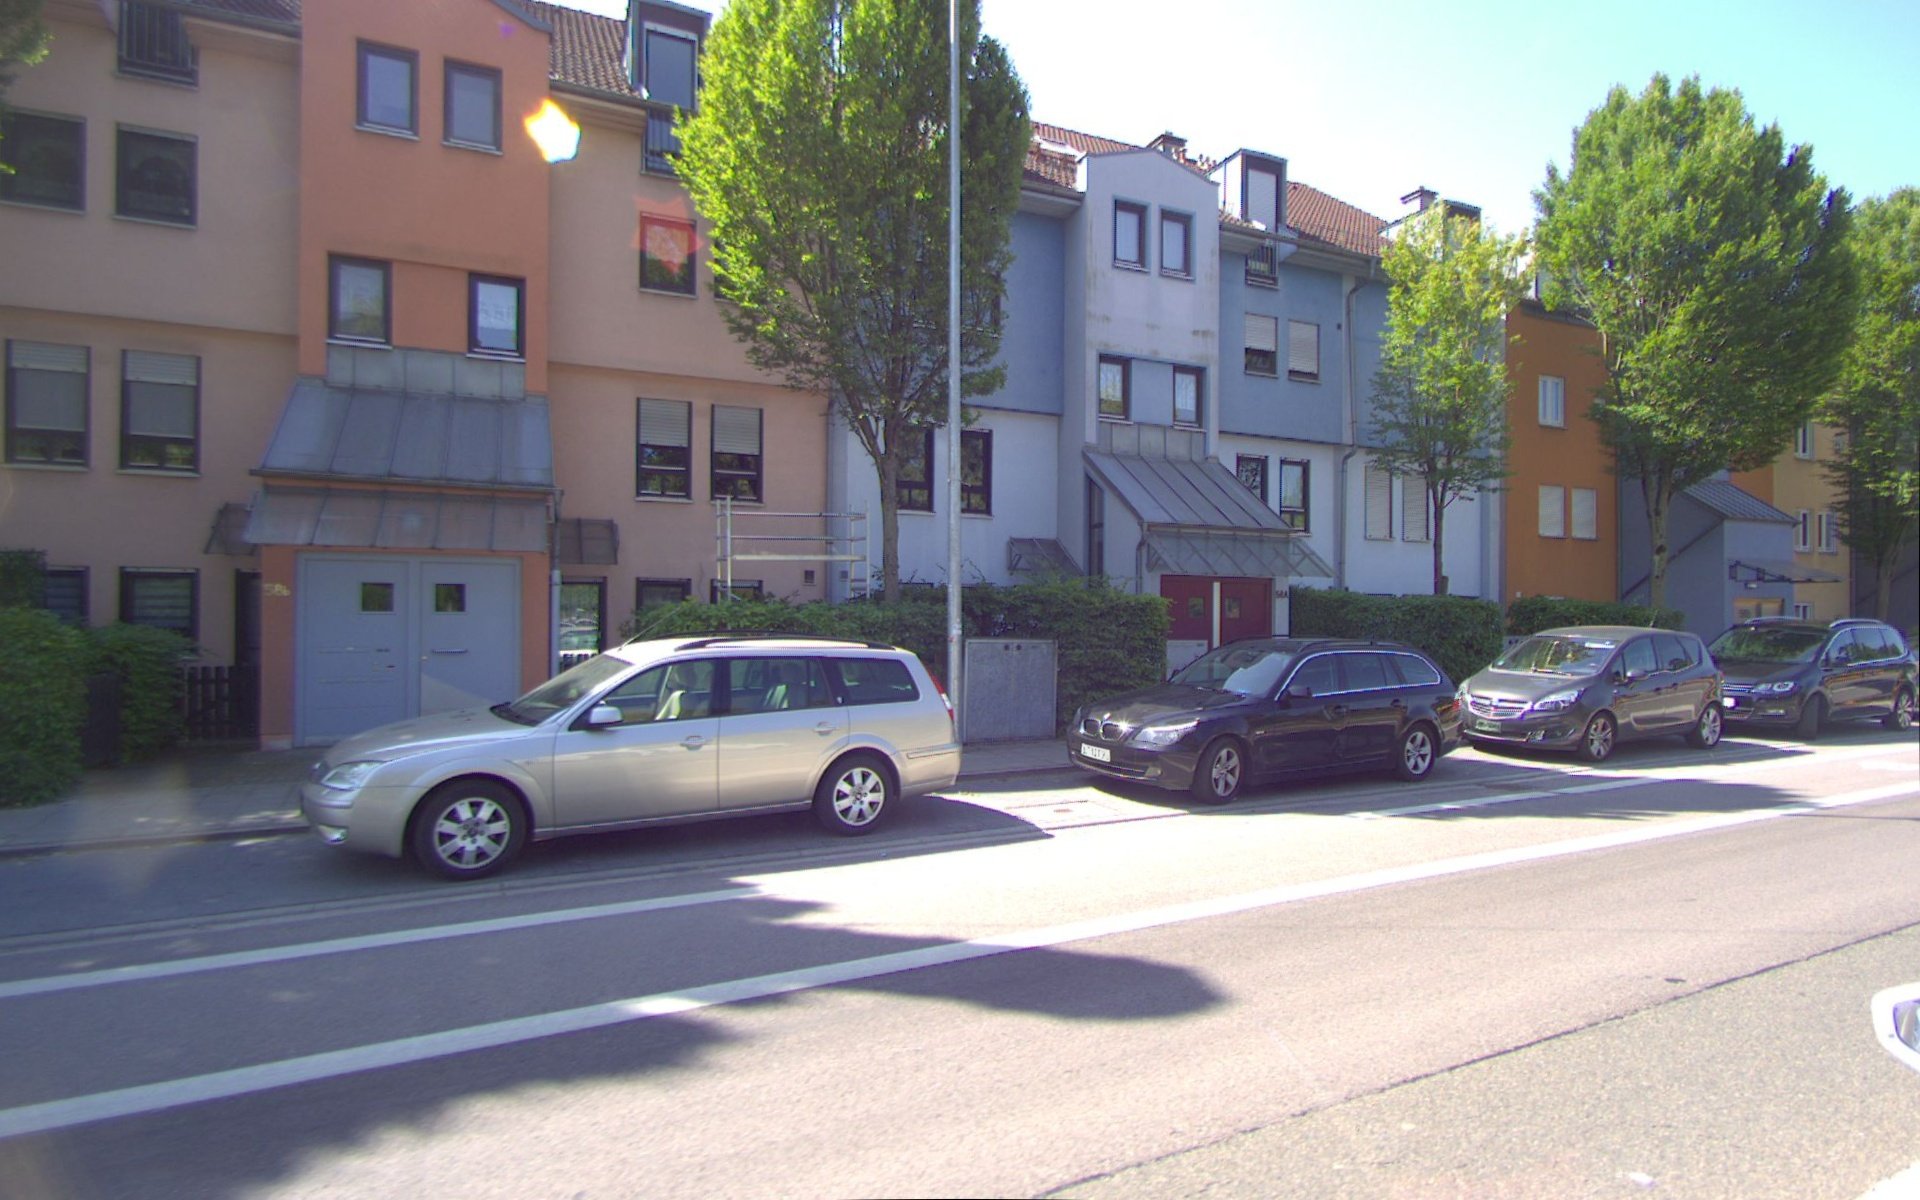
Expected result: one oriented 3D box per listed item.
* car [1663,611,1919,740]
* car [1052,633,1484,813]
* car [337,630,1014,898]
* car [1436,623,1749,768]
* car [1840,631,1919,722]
[{"bbox_3d":[13.464,1.096,16.029,4.811,1.746,1.761,1,1,-30],"label":"car"},{"bbox_3d":[3.383,1.149,10.748,4.659,1.494,1.714,1,1,-30],"label":"car"},{"bbox_3d":[-2.054,1.035,7.917,4.803,1.503,1.771,1,0,-32],"label":"car"},{"bbox_3d":[8.581,1.160,13.557,4.259,1.647,1.709,1,0,-29],"label":"car"},{"bbox_3d":[18.268,1.378,18.517,3.996,1.494,1.684,1,2,-27],"label":"car"}]
